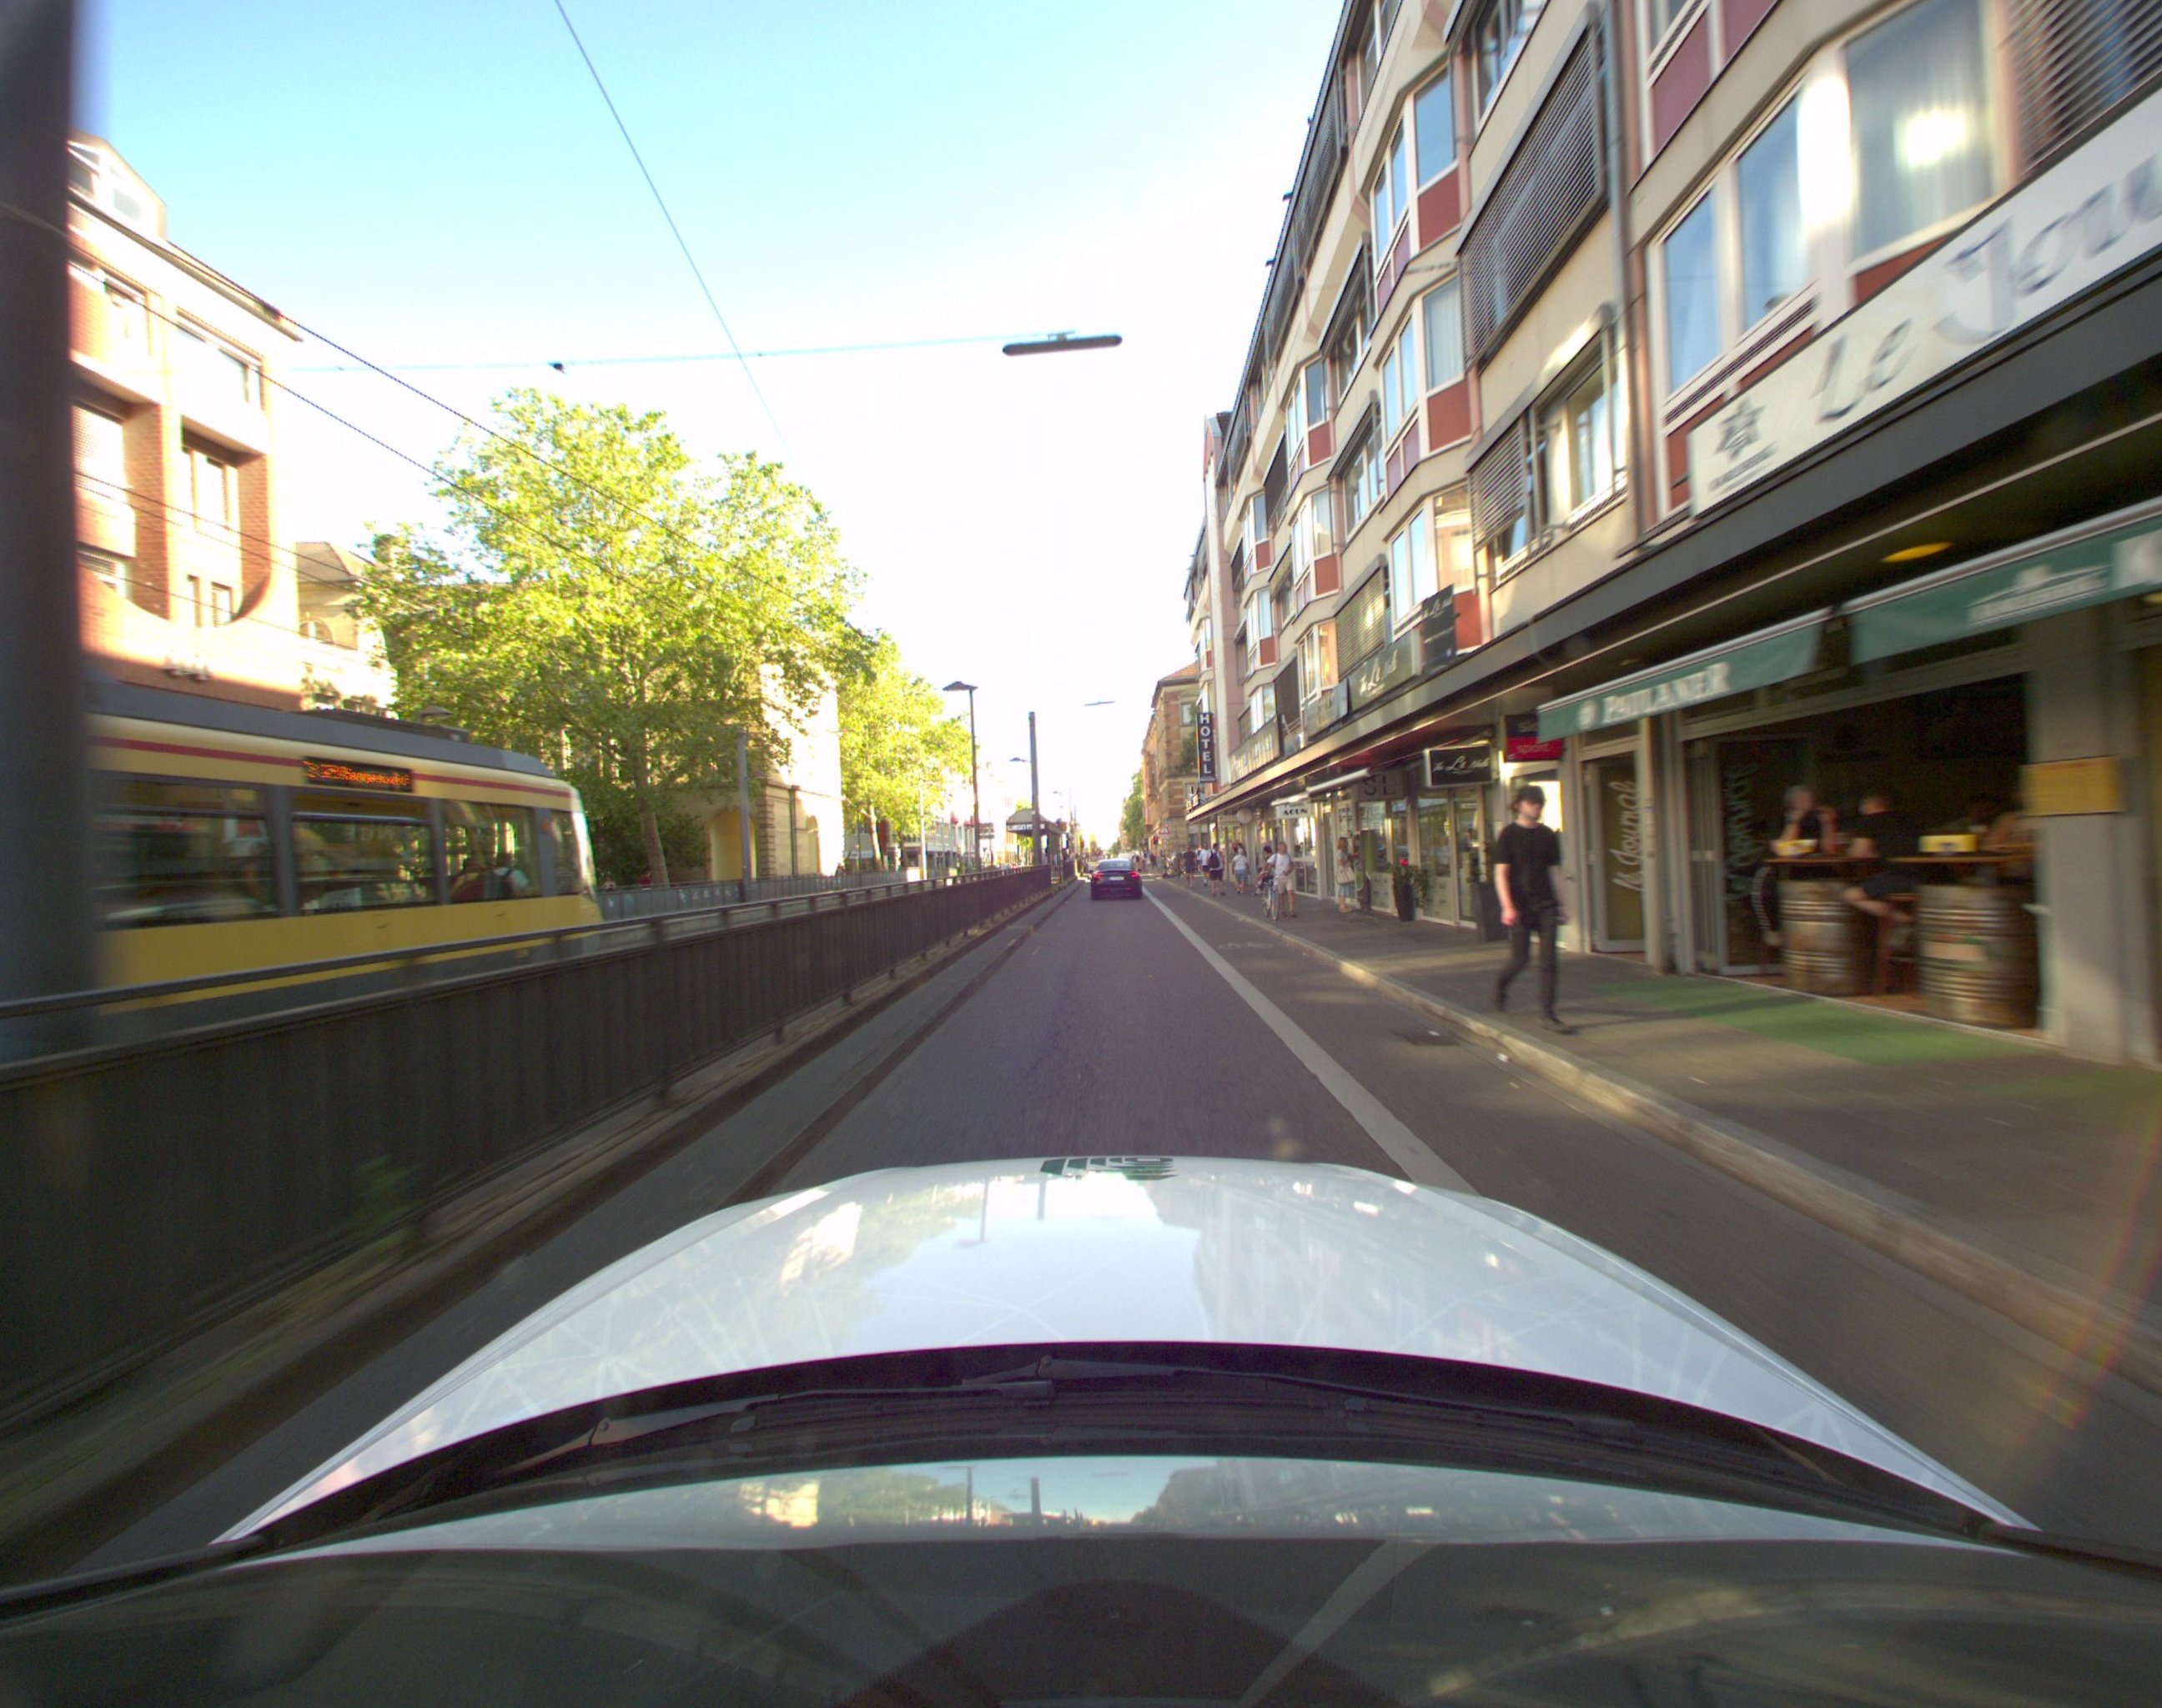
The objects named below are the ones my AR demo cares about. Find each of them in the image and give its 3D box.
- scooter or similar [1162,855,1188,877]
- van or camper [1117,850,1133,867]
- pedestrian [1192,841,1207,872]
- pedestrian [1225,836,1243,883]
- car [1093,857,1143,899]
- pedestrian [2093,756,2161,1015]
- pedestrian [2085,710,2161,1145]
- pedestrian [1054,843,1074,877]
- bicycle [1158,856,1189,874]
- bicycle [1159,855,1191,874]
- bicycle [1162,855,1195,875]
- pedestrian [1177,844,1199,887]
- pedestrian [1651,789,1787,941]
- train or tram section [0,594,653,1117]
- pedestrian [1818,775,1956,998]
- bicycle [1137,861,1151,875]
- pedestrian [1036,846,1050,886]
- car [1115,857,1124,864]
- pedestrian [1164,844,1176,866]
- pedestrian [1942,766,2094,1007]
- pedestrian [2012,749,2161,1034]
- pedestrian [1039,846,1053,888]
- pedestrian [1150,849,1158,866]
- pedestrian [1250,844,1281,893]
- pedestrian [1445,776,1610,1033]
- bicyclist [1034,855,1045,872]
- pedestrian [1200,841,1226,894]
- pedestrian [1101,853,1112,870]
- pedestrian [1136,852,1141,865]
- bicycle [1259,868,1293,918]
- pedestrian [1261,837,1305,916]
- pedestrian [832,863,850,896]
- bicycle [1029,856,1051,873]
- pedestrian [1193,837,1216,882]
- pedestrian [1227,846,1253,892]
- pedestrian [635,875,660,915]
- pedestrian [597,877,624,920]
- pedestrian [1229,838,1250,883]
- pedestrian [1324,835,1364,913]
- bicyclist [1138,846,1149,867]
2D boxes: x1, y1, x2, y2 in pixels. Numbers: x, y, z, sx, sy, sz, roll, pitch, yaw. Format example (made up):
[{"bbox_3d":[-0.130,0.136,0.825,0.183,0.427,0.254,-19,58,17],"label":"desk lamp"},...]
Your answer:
[{"bbox_3d":[5.790,0.711,50.037,1.473,1.229,0.592,-5,-1,2],"label":"scooter or similar"},{"bbox_3d":[5.747,0.635,106.462,1.924,2.037,5.476,-1,-1,1],"label":"van or camper"},{"bbox_3d":[7.837,0.157,54.003,0.709,1.985,0.948,-3,-4,23],"label":"pedestrian"},{"bbox_3d":[6.168,0.226,32.868,0.449,1.849,0.812,-4,0,2],"label":"pedestrian"},{"bbox_3d":[1.308,0.835,29.844,1.713,1.405,3.710,-2,0,1],"label":"car"},{"bbox_3d":[6.951,0.186,5.086,0.517,1.607,0.543,-3,0,7],"label":"pedestrian"},{"bbox_3d":[4.811,0.273,2.955,0.903,1.775,1.050,-5,0,1],"label":"pedestrian"},{"bbox_3d":[-0.941,0.331,45.269,0.775,1.831,0.796,-1,-1,-28],"label":"pedestrian"},{"bbox_3d":[6.065,0.710,53.365,1.939,1.107,0.564,-3,0,0],"label":"bicycle"},{"bbox_3d":[6.073,0.703,52.717,1.939,1.107,0.564,-3,0,0],"label":"bicycle"},{"bbox_3d":[6.061,0.675,50.687,1.939,1.107,0.564,-3,0,0],"label":"bicycle"},{"bbox_3d":[4.523,0.483,34.460,0.665,1.728,0.810,-5,-1,1],"label":"pedestrian"},{"bbox_3d":[6.822,0.108,8.759,0.706,1.519,0.901,-3,0,1],"label":"pedestrian"},{"bbox_3d":[-9.033,0.034,5.445,2.962,3.644,16.495,-1,0,2],"label":"train or tram section"},{"bbox_3d":[6.117,0.235,6.203,0.454,1.603,0.530,-3,0,2],"label":"pedestrian"},{"bbox_3d":[5.136,1.134,66.191,0.647,1.139,2.089,-2,0,-9],"label":"bicycle"},{"bbox_3d":[-1.491,0.466,31.922,0.422,1.573,0.593,-2,0,2],"label":"pedestrian"},{"bbox_3d":[8.402,1.385,177.491,1.704,1.457,4.552,-2,-1,2],"label":"car"},{"bbox_3d":[7.391,0.077,67.772,0.843,1.807,0.878,-3,0,7],"label":"pedestrian"},{"bbox_3d":[6.551,0.222,5.715,0.453,1.603,0.465,-3,0,4],"label":"pedestrian"},{"bbox_3d":[6.241,0.211,4.939,0.513,1.633,0.522,-3,0,7],"label":"pedestrian"},{"bbox_3d":[-1.327,0.489,30.931,0.422,1.573,0.448,-2,0,2],"label":"pedestrian"},{"bbox_3d":[7.579,0.339,84.723,0.464,1.728,0.591,-3,0,38],"label":"pedestrian"},{"bbox_3d":[5.894,0.458,26.007,0.735,1.472,0.707,-5,-1,2],"label":"pedestrian"},{"bbox_3d":[3.526,0.374,6.525,0.672,1.861,0.993,-4,0,3],"label":"pedestrian"},{"bbox_3d":[-3.784,0.849,74.704,0.685,1.516,0.627,-1,0,-41],"label":"bicyclist"},{"bbox_3d":[4.419,0.434,27.244,0.741,1.727,0.815,-1,-1,2],"label":"pedestrian"},{"bbox_3d":[2.388,0.744,76.505,0.835,1.548,0.703,-3,0,21],"label":"pedestrian"},{"bbox_3d":[8.208,0.601,116.088,0.670,1.814,0.756,-3,-1,1],"label":"pedestrian"},{"bbox_3d":[4.226,0.820,17.714,0.301,0.990,1.760,-4,0,1],"label":"bicycle"},{"bbox_3d":[4.399,0.484,17.764,0.660,1.630,0.705,-5,0,1],"label":"pedestrian"},{"bbox_3d":[-14.966,1.599,50.766,0.694,2.013,0.693,-2,0,32],"label":"pedestrian"},{"bbox_3d":[-3.768,0.962,74.716,1.965,1.516,0.627,-2,0,-41],"label":"bicycle"},{"bbox_3d":[5.235,0.239,34.526,0.703,1.820,0.764,-5,-1,2],"label":"pedestrian"},{"bbox_3d":[5.371,0.516,27.479,0.633,1.483,0.654,-5,-1,1],"label":"pedestrian"},{"bbox_3d":[-19.303,1.824,36.263,0.676,1.712,0.614,-2,1,0],"label":"pedestrian"},{"bbox_3d":[-20.457,1.922,35.429,0.683,1.806,0.649,-2,-1,5],"label":"pedestrian"},{"bbox_3d":[6.419,0.252,32.973,0.627,1.769,0.501,-4,0,2],"label":"pedestrian"},{"bbox_3d":[5.584,0.421,17.308,0.598,1.590,0.554,-4,0,1],"label":"pedestrian"},{"bbox_3d":[5.090,0.198,66.179,0.655,1.656,0.924,-2,-1,-10],"label":"bicyclist"}]
